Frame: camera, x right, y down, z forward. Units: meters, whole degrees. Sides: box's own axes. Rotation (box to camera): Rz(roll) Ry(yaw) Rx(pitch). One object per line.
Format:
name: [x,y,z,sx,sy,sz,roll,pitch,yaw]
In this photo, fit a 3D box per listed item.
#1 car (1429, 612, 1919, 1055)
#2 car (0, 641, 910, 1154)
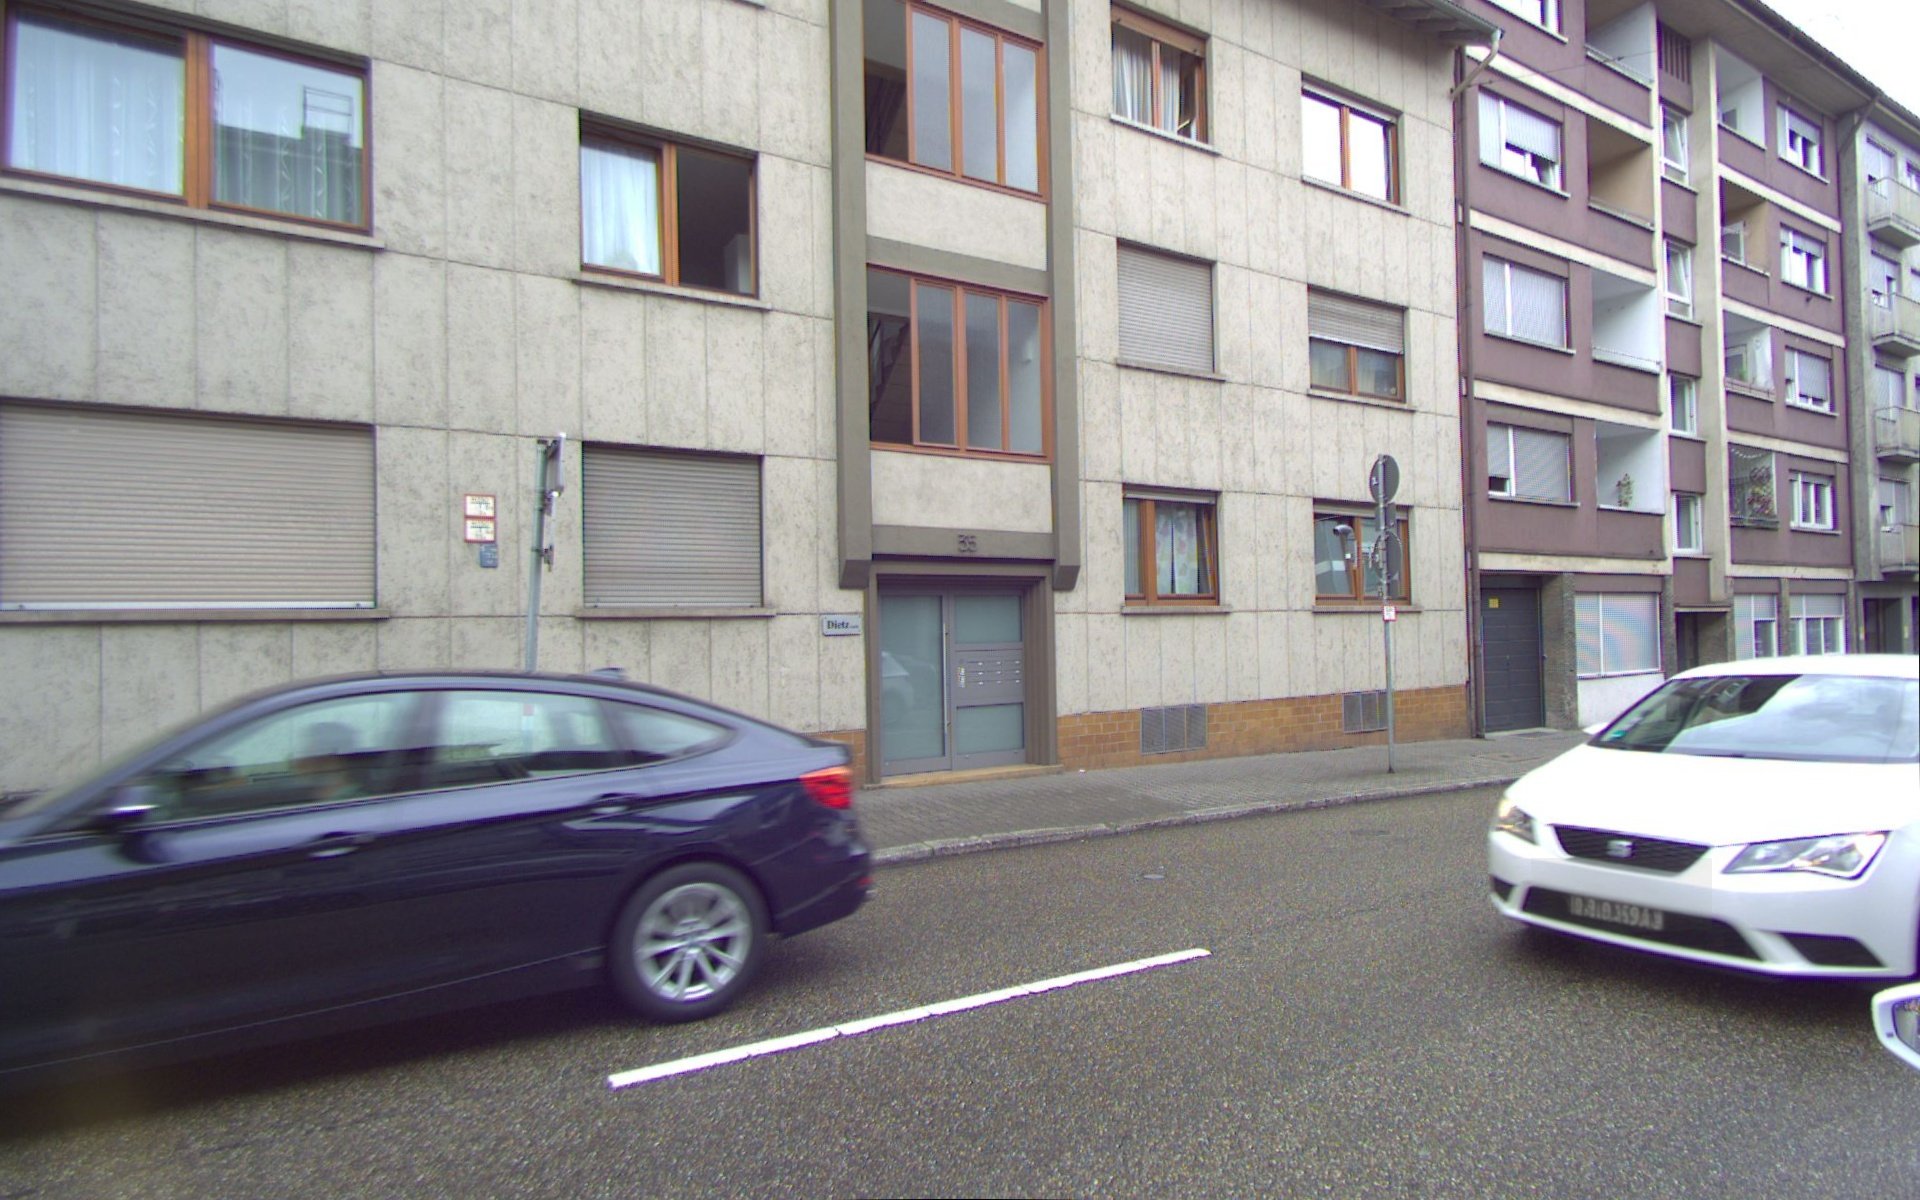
car: [4.538,0.935,5.367,4.007,1.559,1.736,2,-4,-31]
car: [-2.549,1.023,4.339,4.386,1.558,1.687,2,-7,-31]
